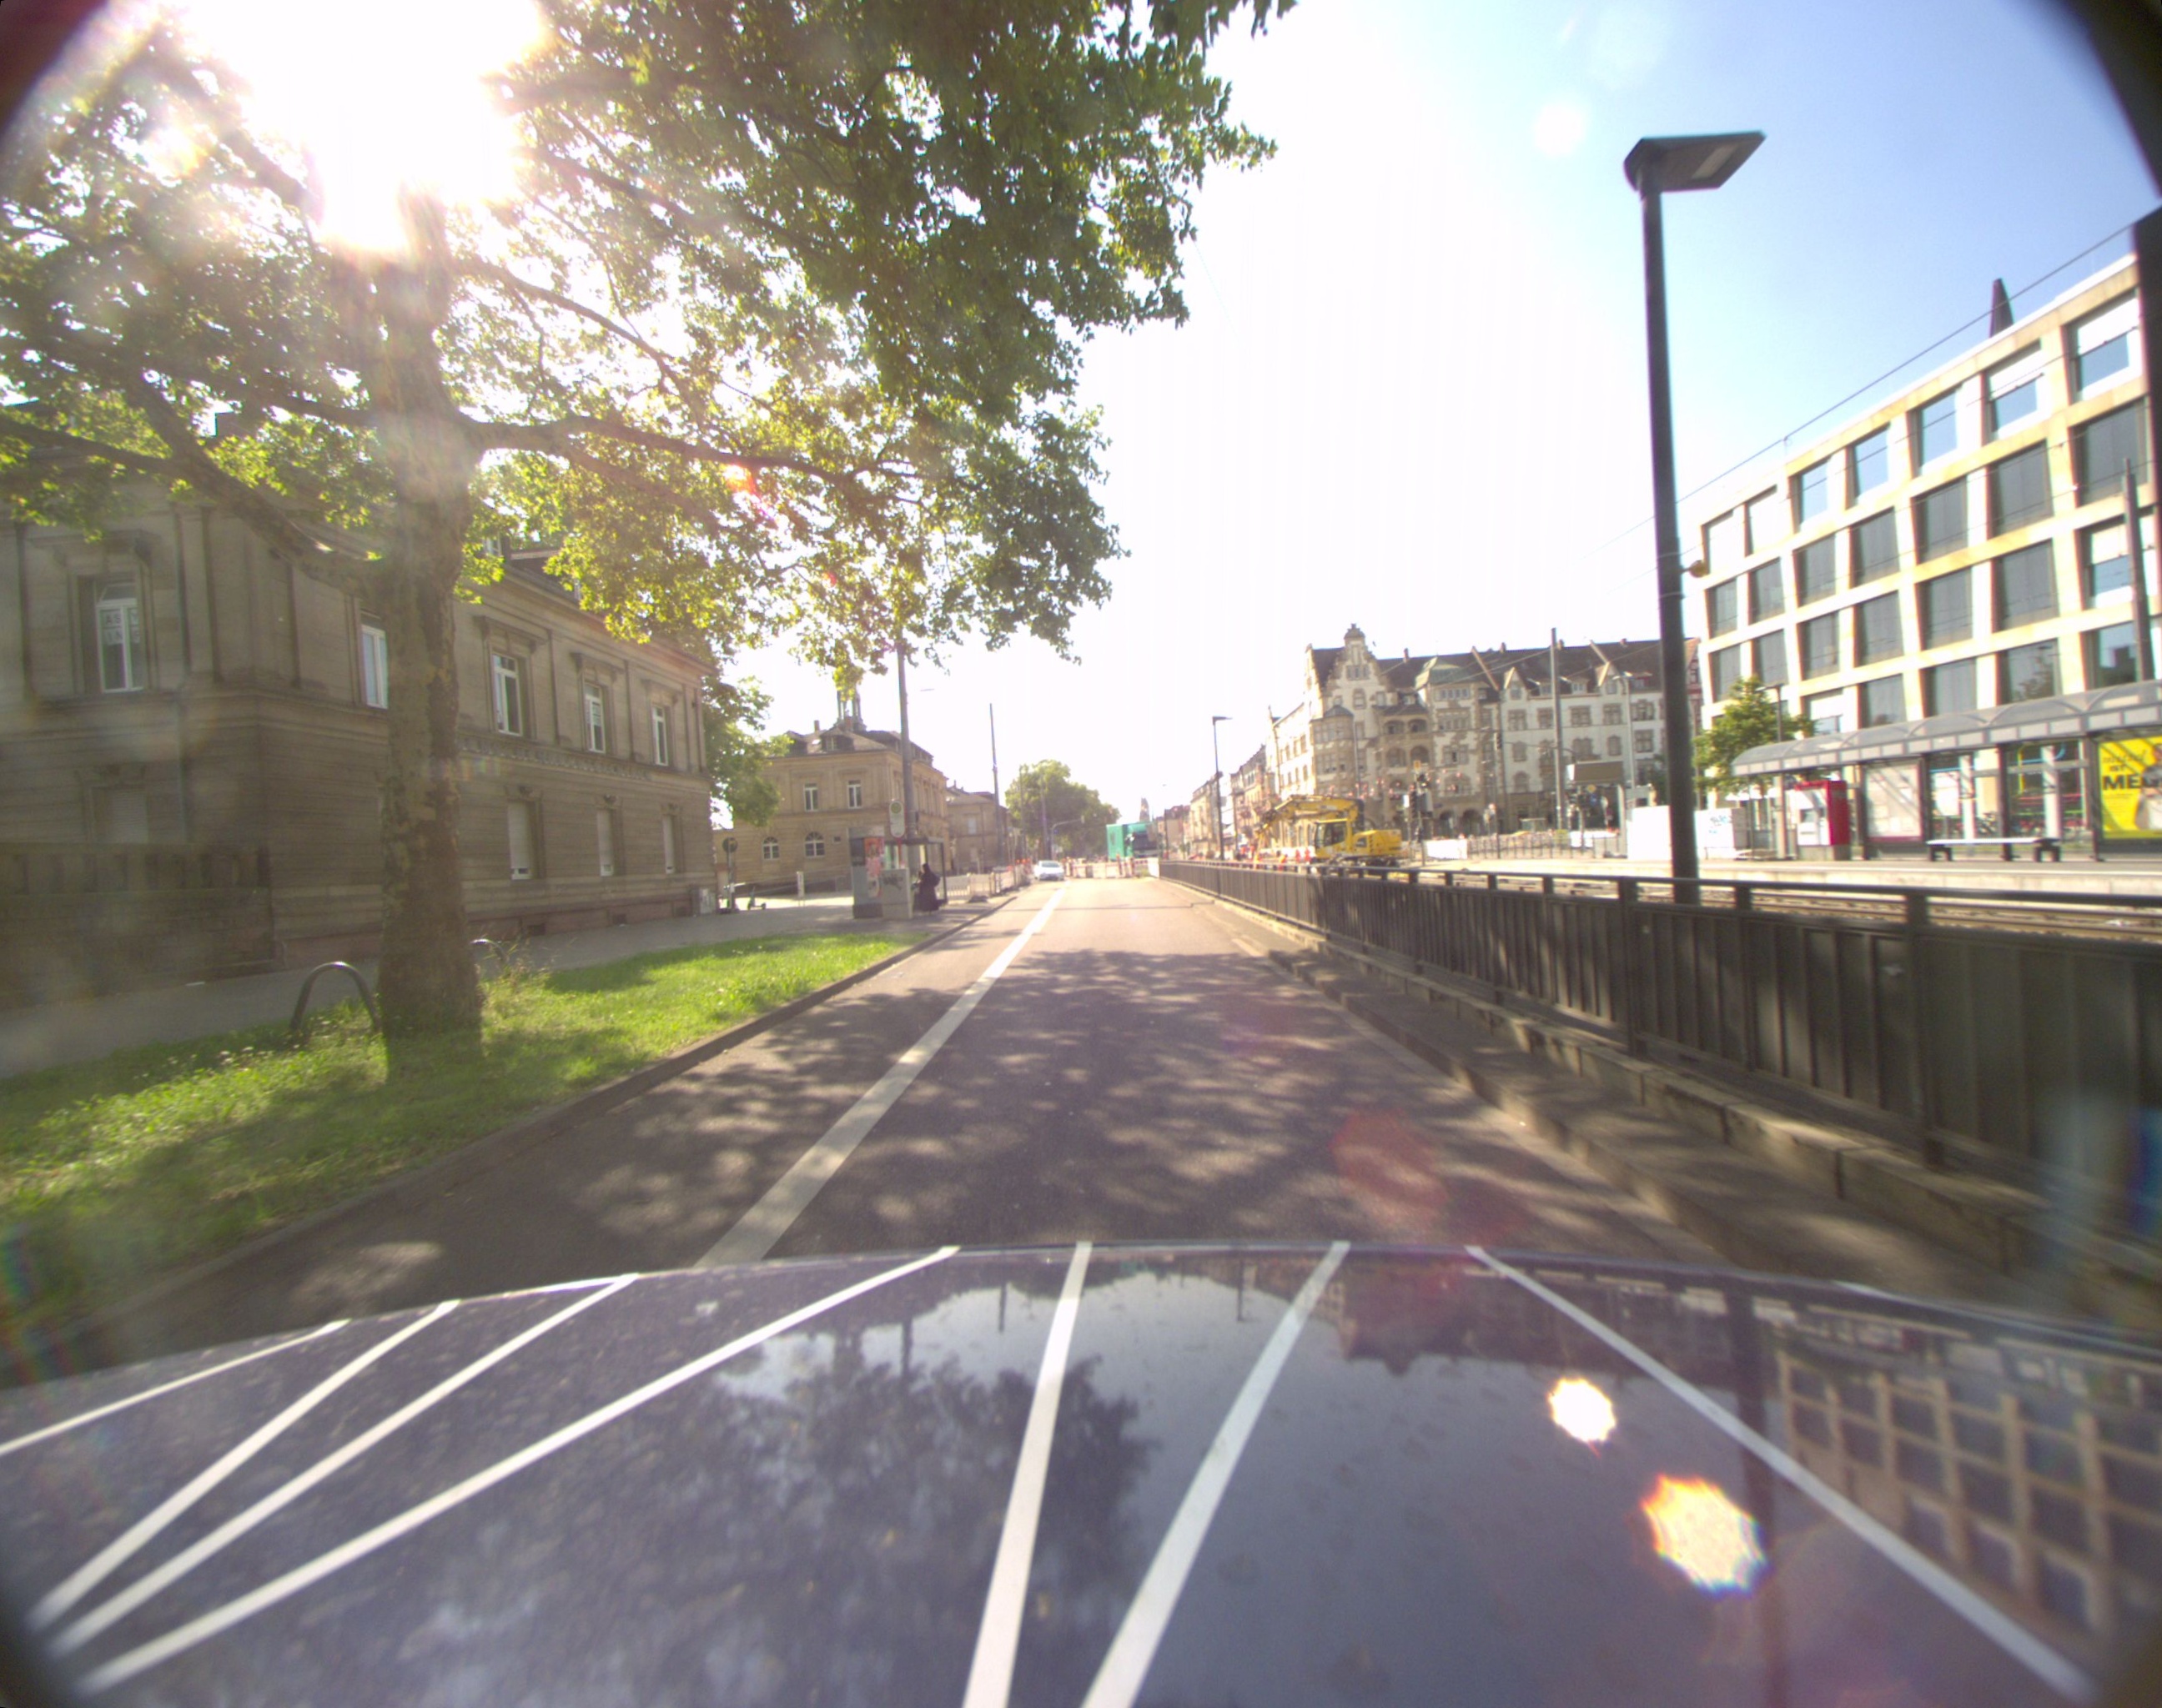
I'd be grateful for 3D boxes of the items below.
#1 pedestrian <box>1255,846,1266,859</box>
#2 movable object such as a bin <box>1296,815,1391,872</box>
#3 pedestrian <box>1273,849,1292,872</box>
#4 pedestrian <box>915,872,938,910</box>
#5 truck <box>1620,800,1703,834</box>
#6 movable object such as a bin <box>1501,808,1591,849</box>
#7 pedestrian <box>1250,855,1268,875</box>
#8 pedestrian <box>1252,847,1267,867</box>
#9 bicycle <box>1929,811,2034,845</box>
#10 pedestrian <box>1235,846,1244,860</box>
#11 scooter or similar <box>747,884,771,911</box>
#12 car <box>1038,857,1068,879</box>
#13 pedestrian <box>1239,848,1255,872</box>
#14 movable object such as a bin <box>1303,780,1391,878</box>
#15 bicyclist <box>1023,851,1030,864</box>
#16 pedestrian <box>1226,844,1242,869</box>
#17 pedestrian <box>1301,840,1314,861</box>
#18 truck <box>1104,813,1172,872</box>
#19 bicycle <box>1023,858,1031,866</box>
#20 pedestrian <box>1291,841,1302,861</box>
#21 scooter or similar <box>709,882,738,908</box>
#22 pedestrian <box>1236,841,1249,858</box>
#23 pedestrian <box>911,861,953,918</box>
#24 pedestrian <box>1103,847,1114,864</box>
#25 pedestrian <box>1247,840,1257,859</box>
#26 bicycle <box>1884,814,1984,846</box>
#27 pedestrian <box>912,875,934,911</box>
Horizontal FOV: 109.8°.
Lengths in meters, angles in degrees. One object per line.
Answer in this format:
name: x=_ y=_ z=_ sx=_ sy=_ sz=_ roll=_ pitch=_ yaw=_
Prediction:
pedestrian: x=16.632 y=-0.119 z=70.503 sx=0.731 sy=1.177 sz=0.866 roll=-1 pitch=2 yaw=-6
movable object such as a bin: x=16.161 y=-0.618 z=46.967 sx=4.127 sy=3.204 sz=3.564 roll=-3 pitch=0 yaw=-13
pedestrian: x=10.453 y=0.360 z=39.499 sx=0.701 sy=1.148 sz=0.589 roll=-3 pitch=0 yaw=41
pedestrian: x=-5.462 y=1.293 z=26.873 sx=0.610 sy=1.270 sz=0.759 roll=-2 pitch=1 yaw=-1
truck: x=56.867 y=-3.603 z=74.511 sx=6.036 sy=2.798 sz=2.691 roll=-3 pitch=0 yaw=-1
movable object such as a bin: x=37.122 y=-2.022 z=60.814 sx=5.515 sy=2.774 sz=2.490 roll=-4 pitch=2 yaw=3
pedestrian: x=9.047 y=0.569 z=38.588 sx=0.702 sy=0.949 sz=0.882 roll=-3 pitch=0 yaw=2
pedestrian: x=10.694 y=0.186 z=45.462 sx=0.701 sy=1.171 sz=0.703 roll=-3 pitch=0 yaw=23
bicycle: x=30.842 y=-0.879 z=26.042 sx=2.436 sy=0.962 sz=0.945 roll=-3 pitch=0 yaw=0
pedestrian: x=14.182 y=-0.114 z=67.958 sx=0.678 sy=1.239 sz=0.547 roll=-3 pitch=0 yaw=0
scooter or similar: x=-14.978 y=1.992 z=35.341 sx=0.409 sy=1.159 sz=1.226 roll=-3 pitch=0 yaw=6
car: x=-2.064 y=0.988 z=56.615 sx=1.844 sy=1.451 sz=4.001 roll=-3 pitch=0 yaw=3
pedestrian: x=9.716 y=0.349 z=44.436 sx=0.701 sy=1.327 sz=0.838 roll=-3 pitch=0 yaw=23
movable object such as a bin: x=13.435 y=-1.209 z=38.674 sx=2.993 sy=4.527 sz=4.213 roll=-3 pitch=0 yaw=4
bicyclist: x=-7.427 y=0.477 z=104.204 sx=0.736 sy=1.616 sz=0.853 roll=-3 pitch=0 yaw=2
pedestrian: x=9.297 y=0.153 z=46.193 sx=0.741 sy=1.470 sz=0.704 roll=-3 pitch=0 yaw=24
pedestrian: x=19.039 y=-0.308 z=63.904 sx=0.741 sy=1.692 sz=0.758 roll=-3 pitch=0 yaw=1
truck: x=3.883 y=-0.719 z=54.275 sx=2.817 sy=3.766 sz=9.009 roll=-3 pitch=0 yaw=-8
bicycle: x=-7.393 y=1.059 z=104.270 sx=0.743 sy=1.026 sz=2.132 roll=-3 pitch=0 yaw=2
pedestrian: x=18.140 y=-0.257 z=64.083 sx=0.740 sy=1.692 sz=0.759 roll=-3 pitch=1 yaw=21
scooter or similar: x=-16.459 y=1.904 z=35.004 sx=1.094 sy=1.126 sz=0.312 roll=-3 pitch=1 yaw=-1
pedestrian: x=15.010 y=-0.407 z=70.551 sx=0.754 sy=1.547 sz=0.735 roll=-4 pitch=1 yaw=-41
pedestrian: x=-4.476 y=1.064 z=22.829 sx=0.885 sy=1.616 sz=0.821 roll=-4 pitch=0 yaw=-35
pedestrian: x=2.970 y=0.188 z=82.198 sx=0.921 sy=1.830 sz=0.801 roll=-3 pitch=1 yaw=-5
pedestrian: x=15.675 y=-0.410 z=69.701 sx=0.752 sy=1.692 sz=0.678 roll=-3 pitch=1 yaw=1
bicycle: x=30.832 y=-0.865 z=27.480 sx=2.436 sy=0.962 sz=1.020 roll=-3 pitch=0 yaw=0
pedestrian: x=-5.439 y=1.330 z=26.167 sx=0.610 sy=1.211 sz=0.574 roll=-2 pitch=1 yaw=-1
